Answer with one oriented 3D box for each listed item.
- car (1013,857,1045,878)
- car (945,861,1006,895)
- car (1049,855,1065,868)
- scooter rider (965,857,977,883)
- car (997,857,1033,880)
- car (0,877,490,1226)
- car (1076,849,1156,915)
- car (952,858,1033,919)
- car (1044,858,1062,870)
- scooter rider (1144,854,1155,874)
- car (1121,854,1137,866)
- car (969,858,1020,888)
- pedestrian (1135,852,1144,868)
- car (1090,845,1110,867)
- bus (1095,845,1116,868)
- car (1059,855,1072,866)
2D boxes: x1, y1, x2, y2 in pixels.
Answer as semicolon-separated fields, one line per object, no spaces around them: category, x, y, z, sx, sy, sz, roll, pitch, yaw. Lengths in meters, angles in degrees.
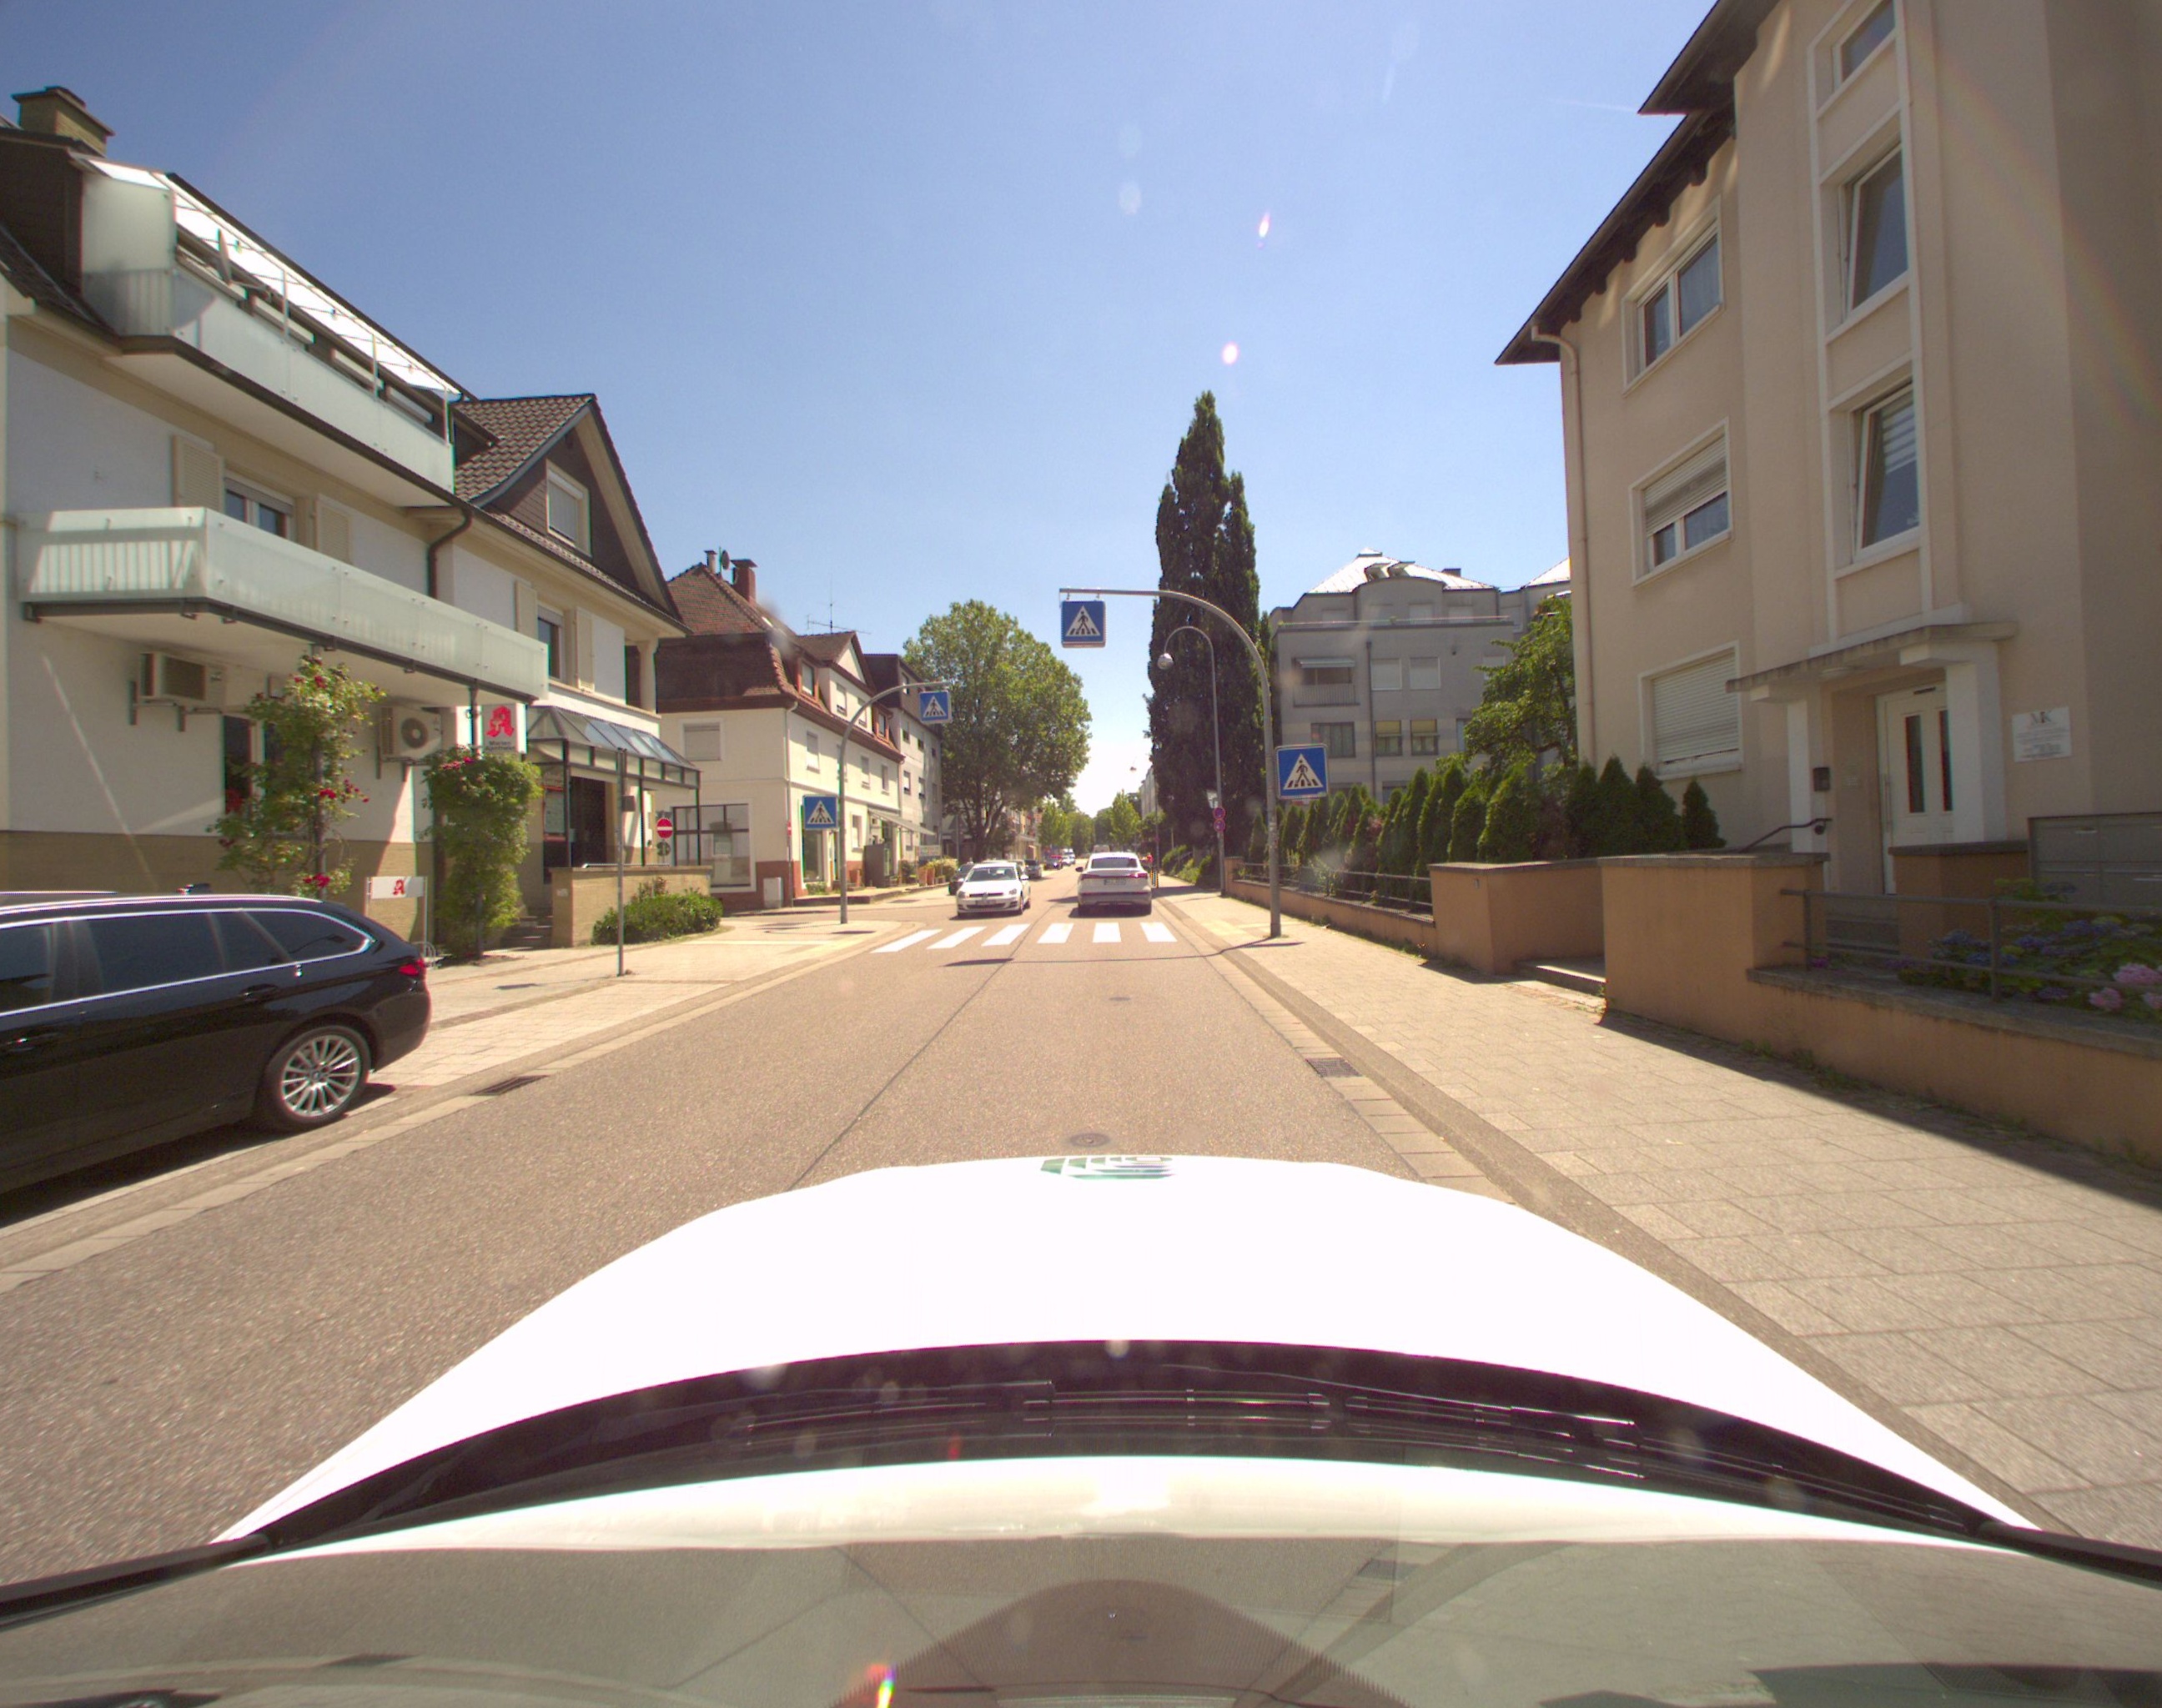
car;-3.879;1.012;61.276;1.974;1.452;5.151;-1;0;1
car;-4.759;1.039;37.591;1.935;1.373;5.100;-1;0;2
car;-3.034;0.920;102.830;1.746;1.702;4.102;0;0;1
scooter rider;-6.852;1.001;50.798;0.586;1.575;0.878;0;0;3
car;-4.439;0.978;55.387;1.974;1.452;4.868;-1;0;1
car;-5.721;0.908;3.857;1.909;1.452;5.151;1;0;2
car;0.903;0.705;22.366;1.987;1.633;4.000;-1;0;0
car;-2.446;0.912;23.340;1.802;1.482;3.868;-4;0;0
car;-3.253;1.133;96.355;1.889;1.417;5.048;0;0;1
scooter rider;5.463;0.791;65.290;0.714;1.548;0.770;-3;0;-1
car;6.081;0.706;103.389;1.888;1.438;4.548;-2;0;3
car;-4.555;0.990;43.660;1.973;1.452;5.360;-1;0;2
pedestrian;6.134;0.661;85.589;0.698;1.626;0.783;-5;-1;0
car;2.184;0.248;92.007;2.148;2.442;5.285;0;0;2
bus;3.526;0.344;117.088;2.649;3.221;7.309;0;0;4
car;-2.374;1.005;126.140;1.745;1.618;4.404;0;0;3
